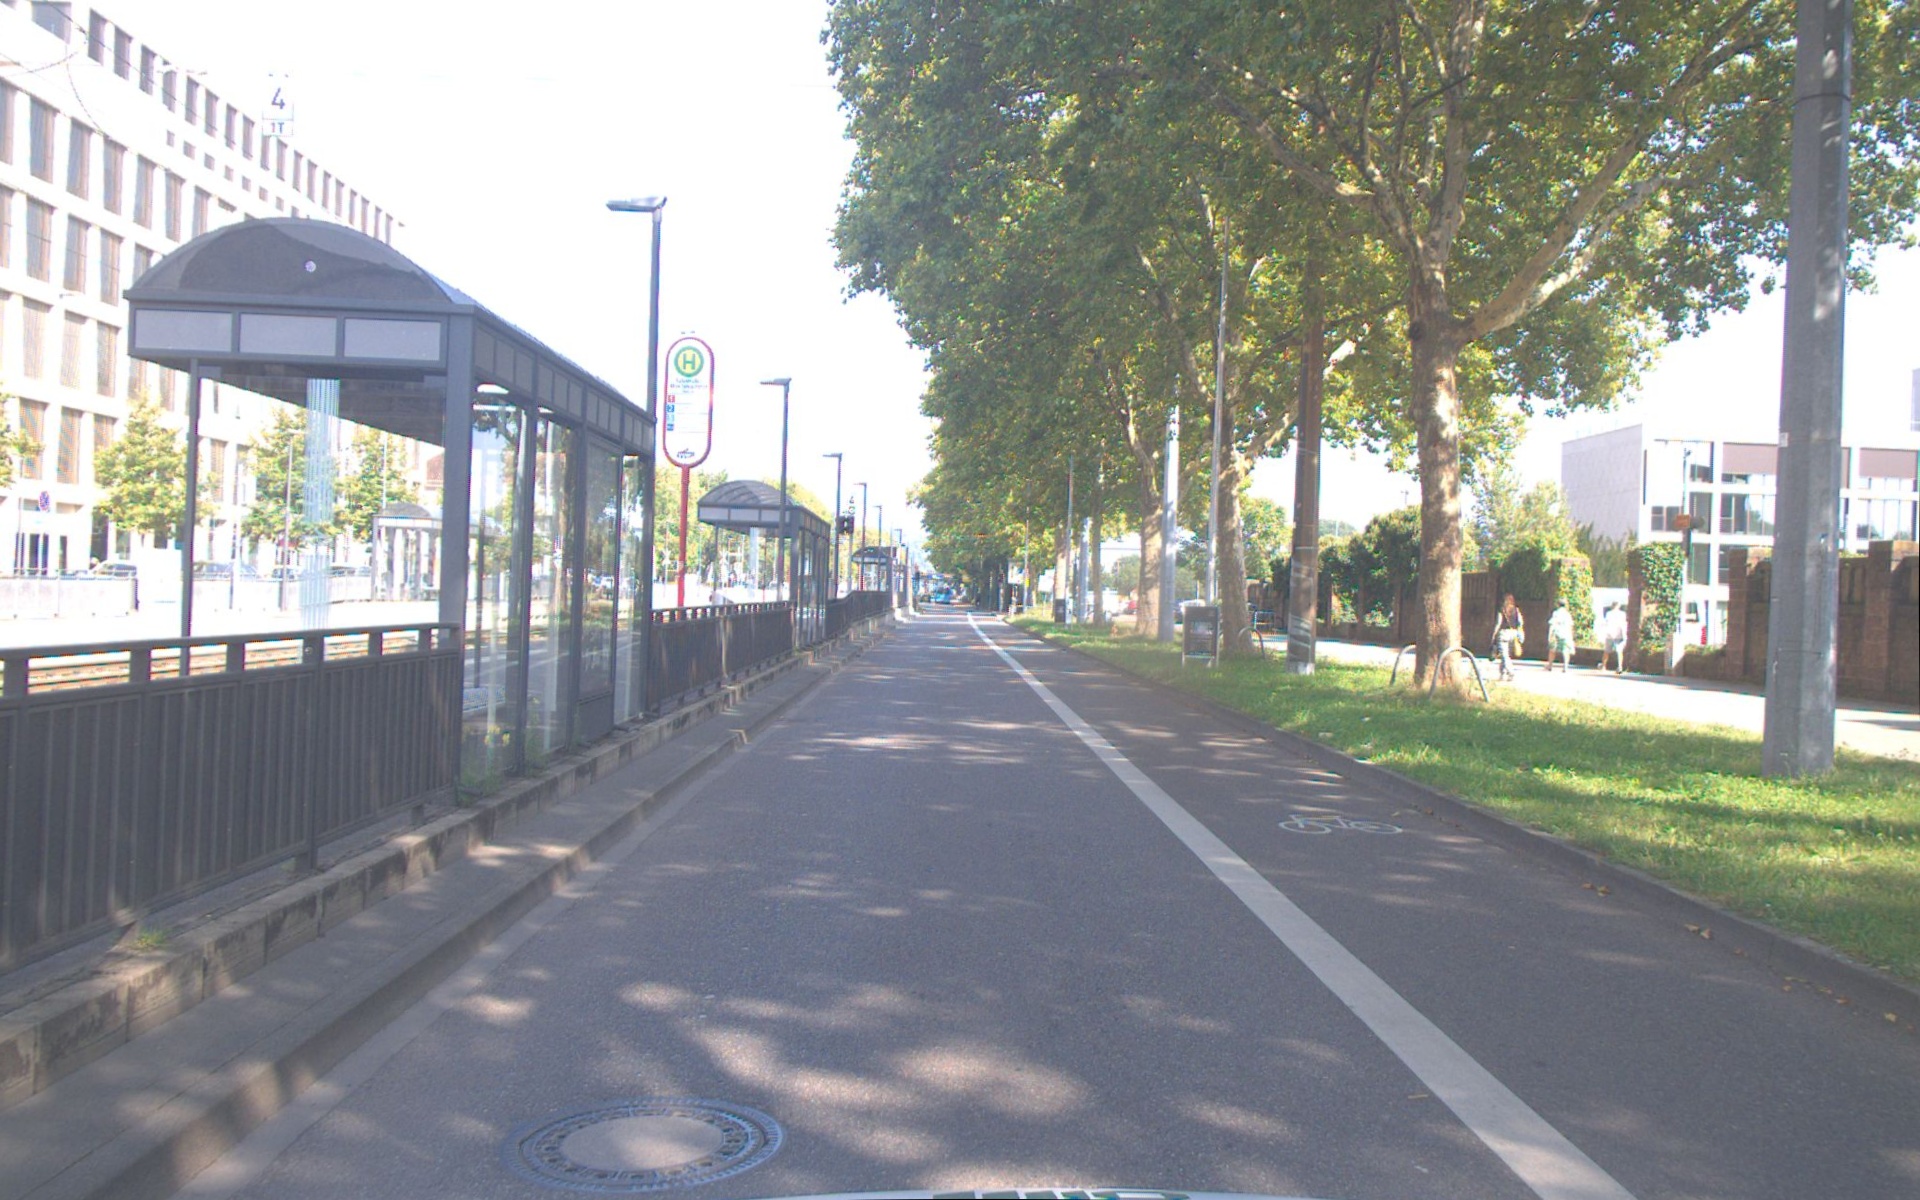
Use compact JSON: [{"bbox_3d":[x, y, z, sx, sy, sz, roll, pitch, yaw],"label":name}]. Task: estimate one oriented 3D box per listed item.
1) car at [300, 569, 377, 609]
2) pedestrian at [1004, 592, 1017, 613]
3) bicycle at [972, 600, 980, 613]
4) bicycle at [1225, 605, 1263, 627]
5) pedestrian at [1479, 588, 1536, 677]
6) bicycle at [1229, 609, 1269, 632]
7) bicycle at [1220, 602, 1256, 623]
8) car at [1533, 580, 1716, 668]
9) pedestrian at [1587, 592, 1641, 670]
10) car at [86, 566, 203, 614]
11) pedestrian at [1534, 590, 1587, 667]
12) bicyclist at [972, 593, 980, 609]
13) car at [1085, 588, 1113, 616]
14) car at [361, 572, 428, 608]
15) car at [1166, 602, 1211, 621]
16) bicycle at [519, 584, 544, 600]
[{"bbox_3d":[-25.518,-0.452,68.006,1.609,1.577,4.222,1,0,-1],"label":"car"},{"bbox_3d":[3.956,0.222,130.176,0.614,1.645,0.841,1,0,37],"label":"pedestrian"},{"bbox_3d":[1.507,0.612,157.179,0.700,1.127,2.508,3,0,0],"label":"bicycle"},{"bbox_3d":[12.617,0.701,73.603,1.621,0.986,0.506,0,0,5],"label":"bicycle"},{"bbox_3d":[10.445,0.614,31.575,0.789,1.665,0.947,0,0,0],"label":"pedestrian"},{"bbox_3d":[12.343,0.877,70.697,1.621,0.986,0.506,0,0,5],"label":"bicycle"},{"bbox_3d":[13.090,0.603,77.950,1.622,0.986,0.506,0,0,2],"label":"bicycle"},{"bbox_3d":[19.818,0.697,49.428,4.568,2.358,2.055,3,0,-1],"label":"car"},{"bbox_3d":[13.971,0.655,35.344,0.789,1.632,0.947,0,0,0],"label":"pedestrian"},{"bbox_3d":[-25.500,-0.307,51.897,1.609,1.401,4.222,1,0,-1],"label":"car"},{"bbox_3d":[12.847,0.596,35.406,0.789,1.632,0.947,0,0,0],"label":"pedestrian"},{"bbox_3d":[1.526,0.135,157.259,0.691,1.486,1.009,3,0,0],"label":"bicyclist"},{"bbox_3d":[10.696,0.114,127.651,1.687,2.084,4.461,2,0,0],"label":"car"},{"bbox_3d":[-25.787,-0.459,75.530,1.609,1.577,4.222,1,0,-1],"label":"car"},{"bbox_3d":[19.833,1.020,143.644,3.695,1.471,1.528,3,0,6],"label":"car"},{"bbox_3d":[-17.675,-0.329,68.236,0.467,0.674,1.614,1,0,4],"label":"bicycle"}]
